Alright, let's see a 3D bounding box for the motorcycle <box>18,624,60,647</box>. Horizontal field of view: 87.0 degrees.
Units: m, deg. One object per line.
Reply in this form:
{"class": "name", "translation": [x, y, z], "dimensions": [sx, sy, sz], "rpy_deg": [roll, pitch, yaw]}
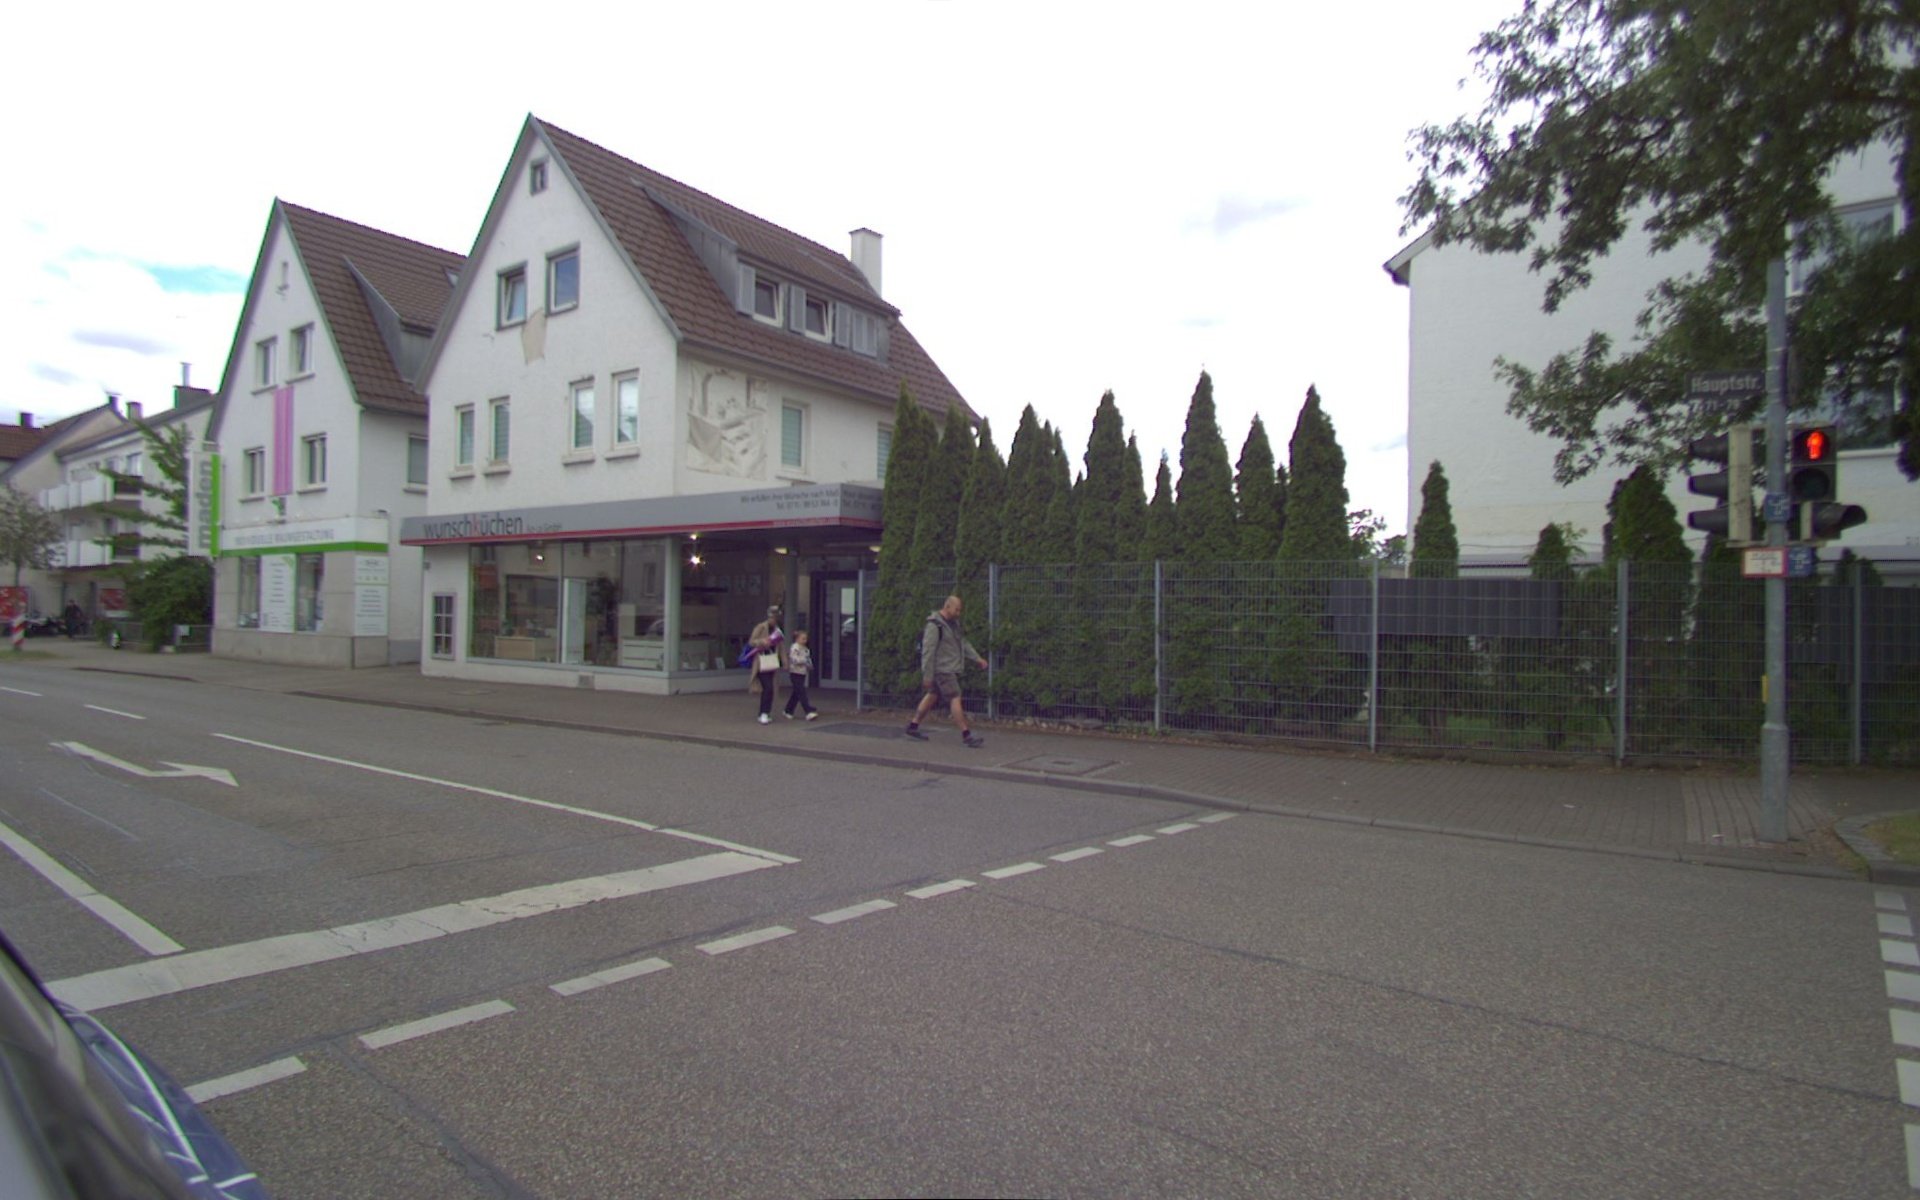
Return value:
{"class": "motorcycle", "translation": [-43.780, 1.667, 48.121], "dimensions": [0.524, 1.030, 1.412], "rpy_deg": [-1, 0, 37]}

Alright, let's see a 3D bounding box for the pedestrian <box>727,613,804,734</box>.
{"class": "pedestrian", "translation": [-2.711, 0.993, 14.116], "dimensions": [0.862, 1.617, 0.636], "rpy_deg": [0, 0, 27]}

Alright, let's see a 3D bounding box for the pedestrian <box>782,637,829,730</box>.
{"class": "pedestrian", "translation": [-2.203, 1.178, 14.463], "dimensions": [0.548, 1.271, 0.379], "rpy_deg": [0, 0, 27]}

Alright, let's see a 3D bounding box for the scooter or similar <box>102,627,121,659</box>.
{"class": "scooter or similar", "translation": [-30.571, 1.540, 36.483], "dimensions": [0.458, 1.132, 1.831], "rpy_deg": [0, -1, -38]}

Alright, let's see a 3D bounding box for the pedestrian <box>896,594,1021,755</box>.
{"class": "pedestrian", "translation": [-0.019, 0.820, 11.813], "dimensions": [1.228, 1.767, 0.813], "rpy_deg": [0, 0, 38]}

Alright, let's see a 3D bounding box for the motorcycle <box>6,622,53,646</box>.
{"class": "motorcycle", "translation": [-45.717, 1.643, 49.732], "dimensions": [0.557, 1.114, 1.659], "rpy_deg": [-1, 0, 37]}

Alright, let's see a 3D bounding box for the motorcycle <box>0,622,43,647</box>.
{"class": "motorcycle", "translation": [-44.727, 1.642, 48.207], "dimensions": [0.589, 1.114, 1.495], "rpy_deg": [-1, 0, 43]}
